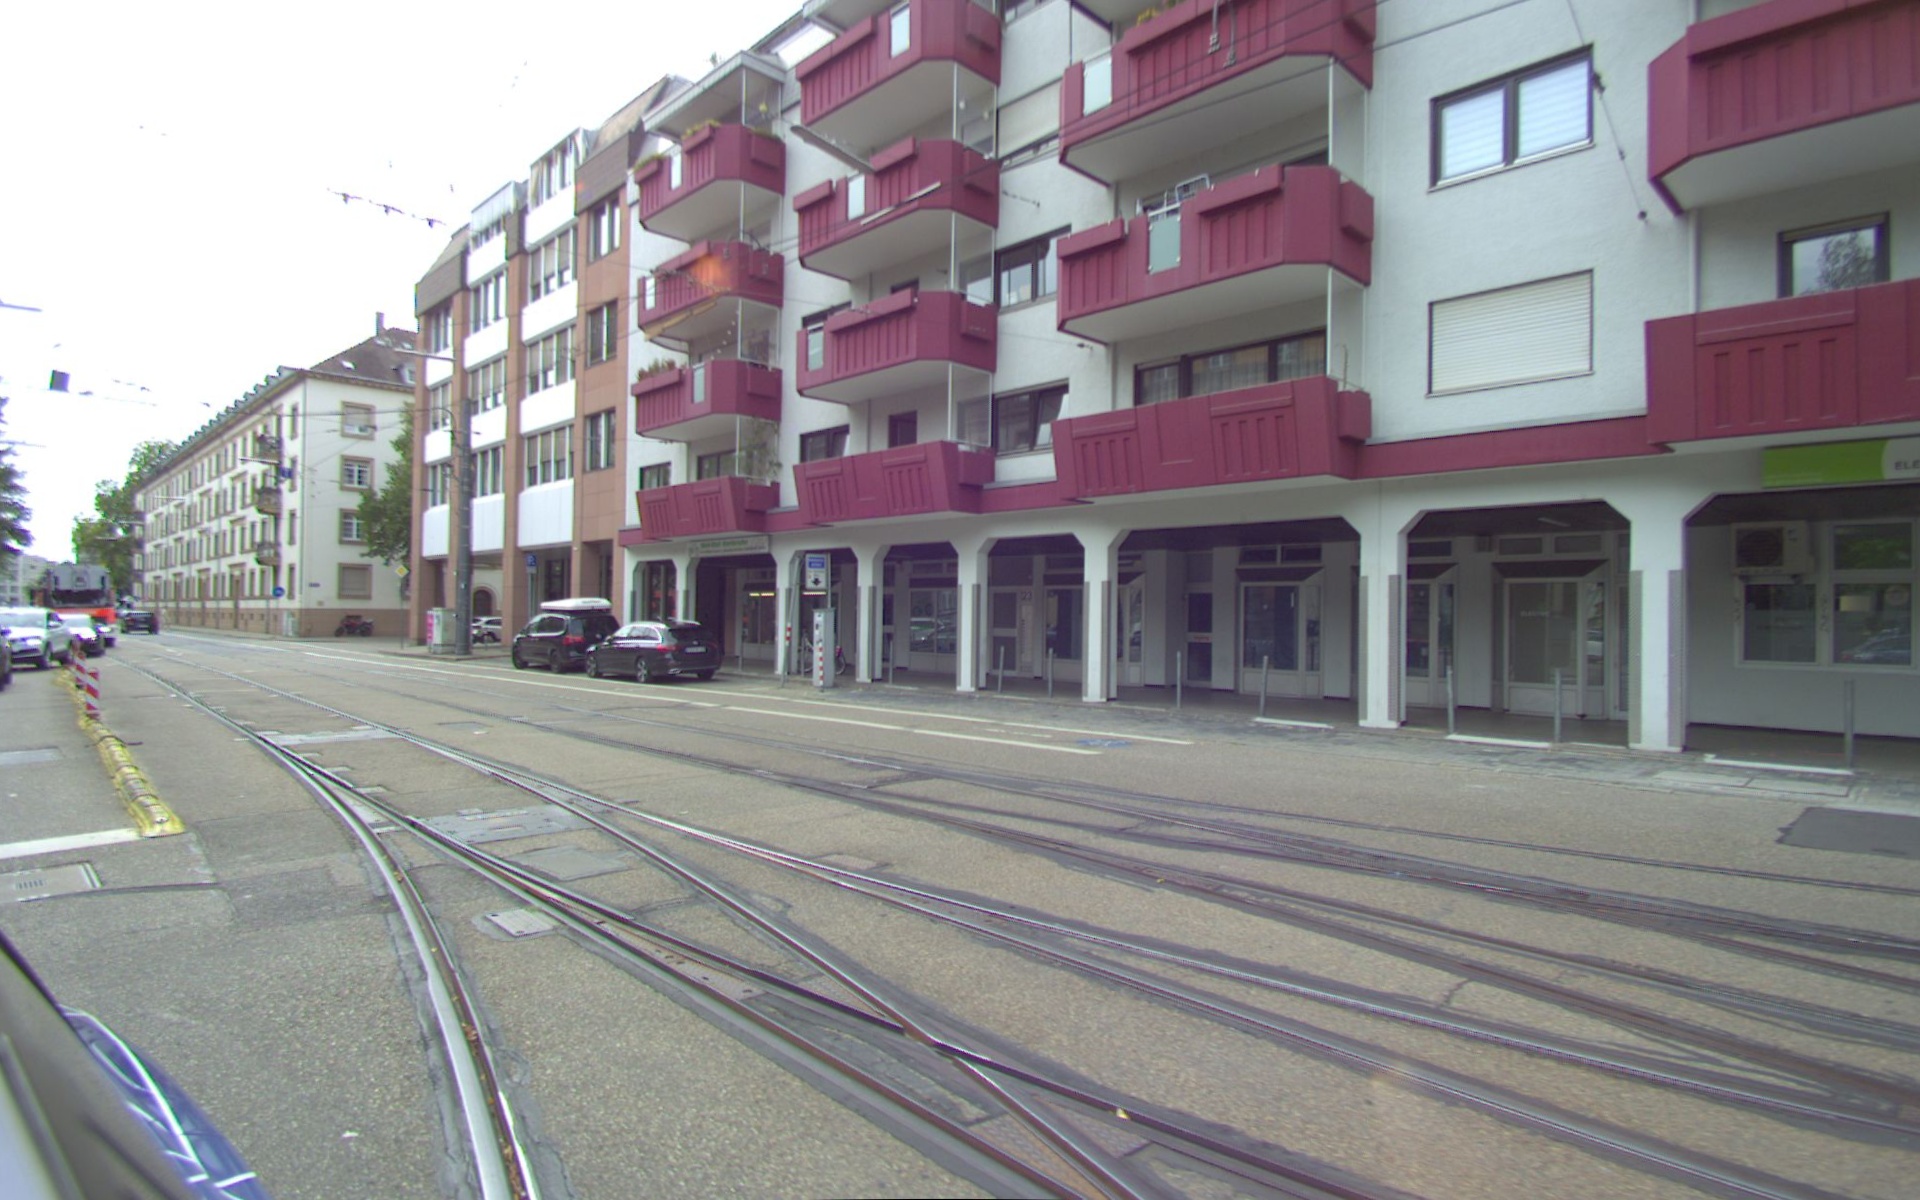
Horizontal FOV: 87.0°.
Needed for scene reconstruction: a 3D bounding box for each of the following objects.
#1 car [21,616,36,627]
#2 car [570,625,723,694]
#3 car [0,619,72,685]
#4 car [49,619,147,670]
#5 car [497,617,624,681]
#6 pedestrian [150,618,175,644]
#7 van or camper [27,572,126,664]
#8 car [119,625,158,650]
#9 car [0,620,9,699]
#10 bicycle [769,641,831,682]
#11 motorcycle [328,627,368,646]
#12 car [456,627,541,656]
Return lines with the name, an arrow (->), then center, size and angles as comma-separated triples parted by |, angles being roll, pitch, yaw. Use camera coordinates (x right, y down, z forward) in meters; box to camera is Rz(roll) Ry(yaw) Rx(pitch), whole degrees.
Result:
car -> -157.932, 3.654, 171.604 | 1.872, 1.831, 4.004 | 2, -2, -42
car -> -7.870, 1.400, 25.127 | 1.734, 1.491, 4.702 | -1, 0, -43
car -> -24.803, 1.307, 26.529 | 1.745, 1.603, 4.293 | 0, -1, -34
car -> -28.887, 1.448, 34.028 | 1.744, 1.546, 4.061 | 0, -1, -29
car -> -11.690, 1.361, 29.429 | 1.785, 1.659, 4.702 | -1, 0, -43
pedestrian -> -58.311, 2.283, 73.988 | 1.004, 1.856, 1.002 | 1, -2, -3
van or camper -> -37.125, 0.777, 42.372 | 2.570, 3.447, 9.660 | 2, -2, -44
car -> -52.725, 2.377, 64.933 | 1.747, 1.549, 4.053 | 0, -1, -42
car -> -19.776, 1.191, 19.585 | 1.746, 1.559, 4.289 | 0, -1, -40
bicycle -> -3.984, 1.501, 25.114 | 1.649, 0.960, 0.558 | -1, -2, 40
motorcycle -> -35.872, 2.161, 59.339 | 1.897, 1.094, 0.794 | 2, -2, -44
car -> -23.628, 2.095, 51.883 | 1.610, 1.399, 3.603 | -1, -2, 37
